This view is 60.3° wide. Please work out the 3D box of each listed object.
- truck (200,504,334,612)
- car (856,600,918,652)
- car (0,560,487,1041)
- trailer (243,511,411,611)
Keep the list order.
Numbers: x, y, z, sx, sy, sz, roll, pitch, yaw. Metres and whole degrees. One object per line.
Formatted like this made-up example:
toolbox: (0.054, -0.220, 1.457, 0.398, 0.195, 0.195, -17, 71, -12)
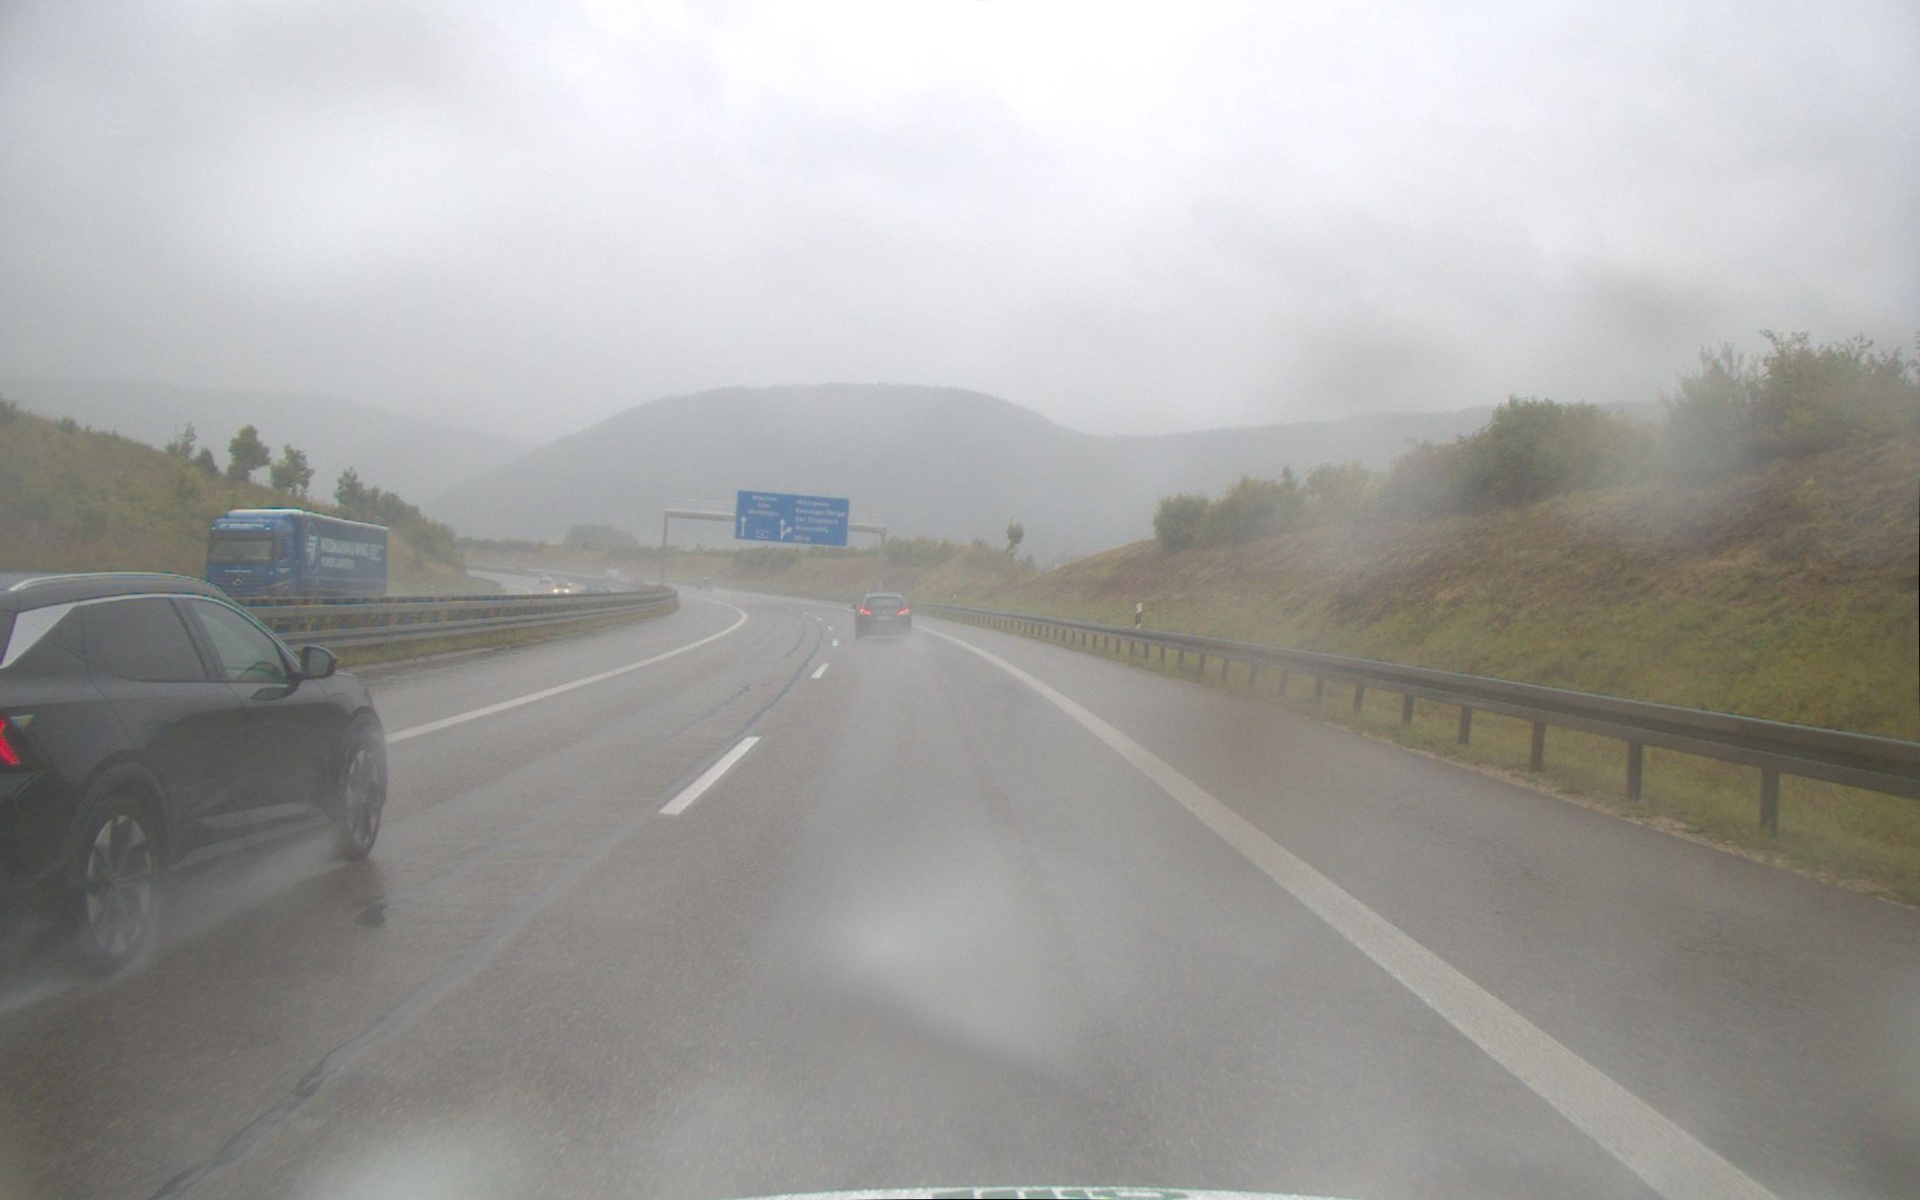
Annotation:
truck: (-25.544, -1.485, 61.276, 2.726, 3.748, 6.202, 1, 0, -4)
car: (-2.269, 0.792, 52.145, 1.644, 1.498, 3.815, 2, 0, 2)
car: (-4.045, 0.611, 7.678, 2.357, 1.542, 4.783, 2, 0, -1)
trailer: (-26.076, -1.494, 69.000, 2.758, 3.745, 13.236, 1, 0, -4)
